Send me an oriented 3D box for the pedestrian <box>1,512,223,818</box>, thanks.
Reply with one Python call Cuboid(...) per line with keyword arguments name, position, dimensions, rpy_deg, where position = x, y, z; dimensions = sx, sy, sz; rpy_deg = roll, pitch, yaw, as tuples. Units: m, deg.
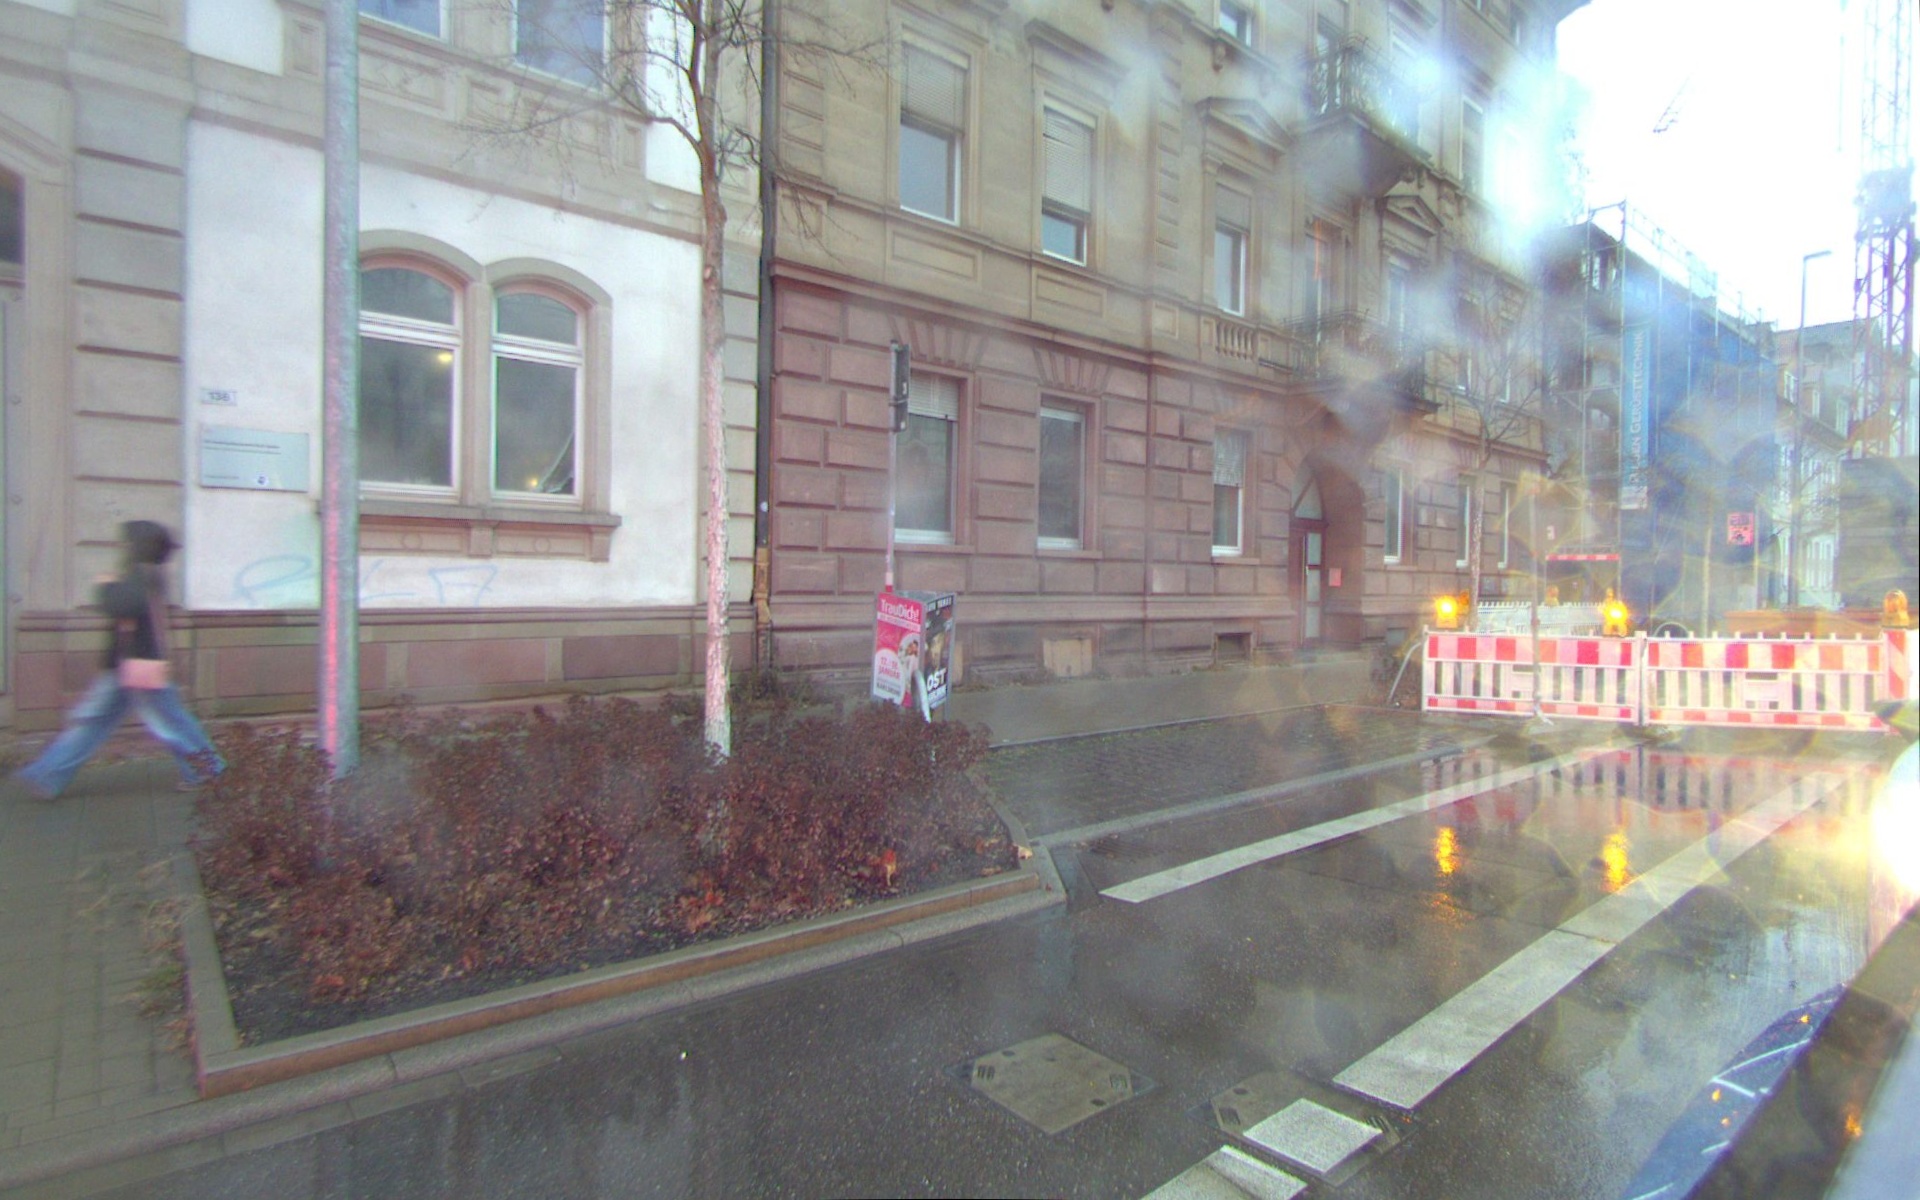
Cuboid(name="pedestrian", position=(-4.819, 0.316, 5.793), dimensions=(0.913, 1.564, 0.870), rpy_deg=(0, 2, -40))
